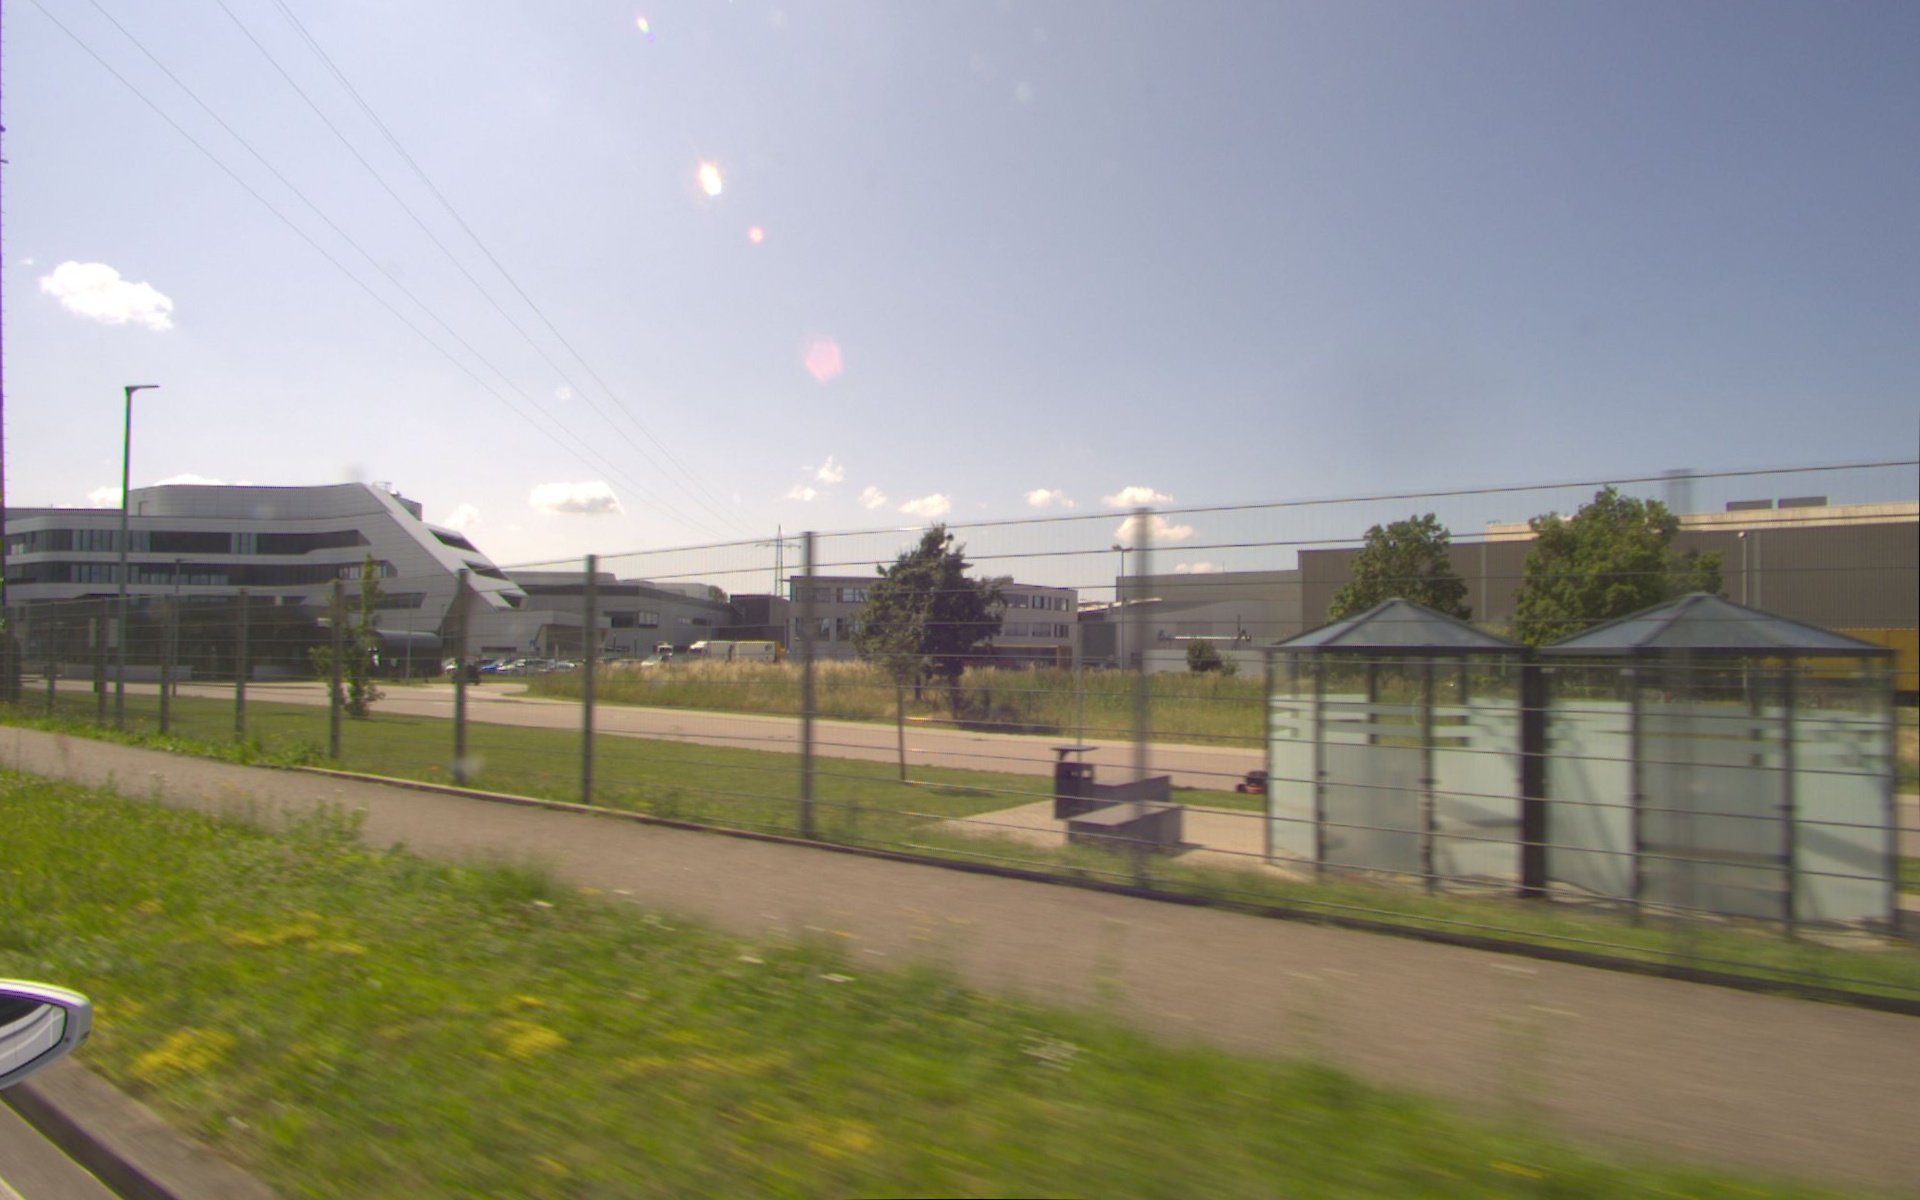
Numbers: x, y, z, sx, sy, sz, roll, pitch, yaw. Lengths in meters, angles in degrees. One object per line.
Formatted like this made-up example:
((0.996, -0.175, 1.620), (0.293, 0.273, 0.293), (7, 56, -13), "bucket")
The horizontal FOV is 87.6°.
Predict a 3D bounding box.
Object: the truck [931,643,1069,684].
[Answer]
((3.404, 5.653, 90.636), (13.444, 3.403, 1.990), (-1, -4, 35), "truck")

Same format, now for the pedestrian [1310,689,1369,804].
((6.123, 2.335, 16.156), (0.781, 1.750, 0.590), (0, -3, 34), "pedestrian")

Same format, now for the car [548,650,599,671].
((-40.338, 6.296, 104.562), (1.972, 2.038, 4.733), (-1, -4, 32), "car")

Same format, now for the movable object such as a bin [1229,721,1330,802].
((5.331, 2.669, 16.721), (1.546, 1.200, 0.419), (-1, -4, 34), "movable object such as a bin")

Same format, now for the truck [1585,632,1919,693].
((38.960, 2.994, 49.510), (13.555, 2.747, 1.988), (-2, -2, 35), "truck")

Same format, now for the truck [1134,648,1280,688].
((20.195, 5.516, 82.549), (11.690, 2.998, 1.990), (-1, -4, 35), "truck")
